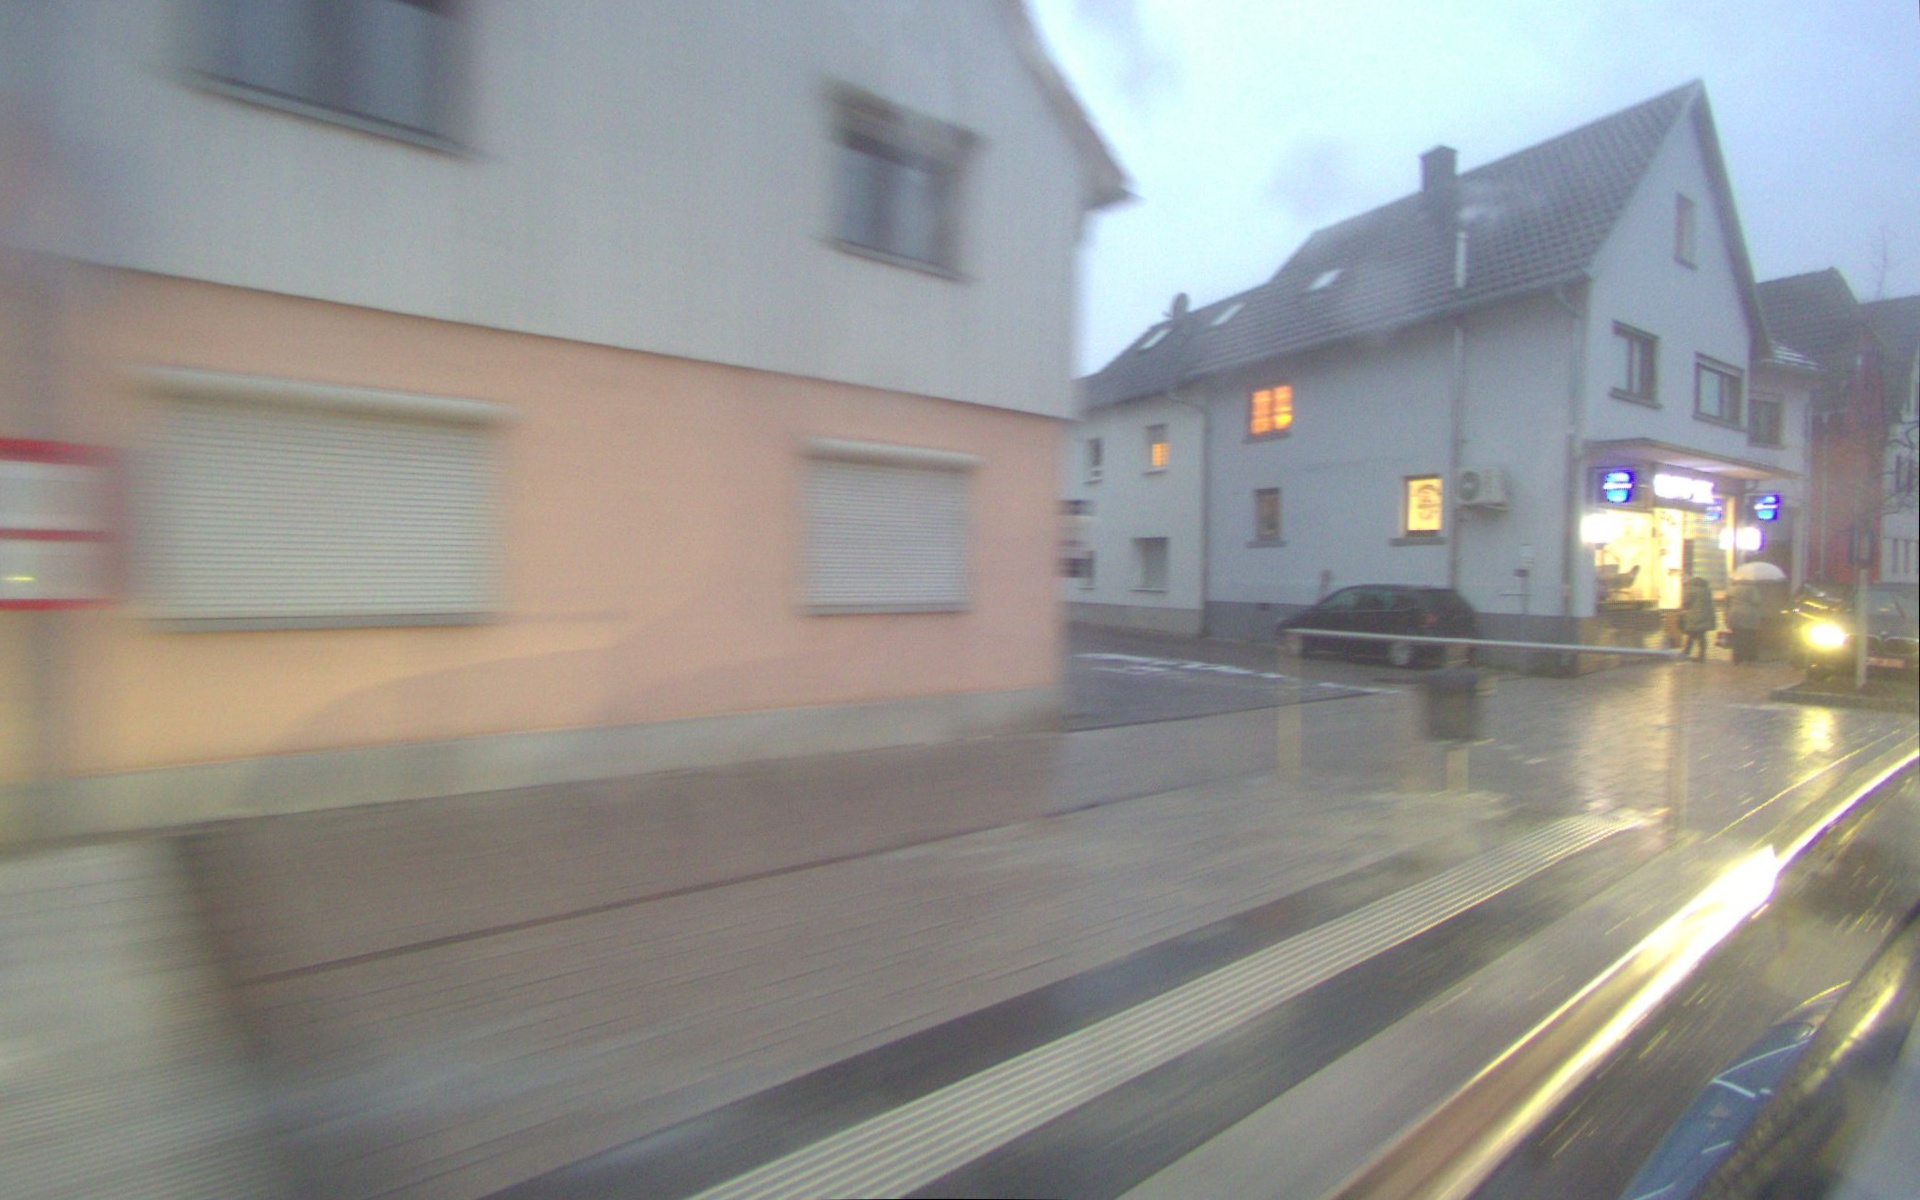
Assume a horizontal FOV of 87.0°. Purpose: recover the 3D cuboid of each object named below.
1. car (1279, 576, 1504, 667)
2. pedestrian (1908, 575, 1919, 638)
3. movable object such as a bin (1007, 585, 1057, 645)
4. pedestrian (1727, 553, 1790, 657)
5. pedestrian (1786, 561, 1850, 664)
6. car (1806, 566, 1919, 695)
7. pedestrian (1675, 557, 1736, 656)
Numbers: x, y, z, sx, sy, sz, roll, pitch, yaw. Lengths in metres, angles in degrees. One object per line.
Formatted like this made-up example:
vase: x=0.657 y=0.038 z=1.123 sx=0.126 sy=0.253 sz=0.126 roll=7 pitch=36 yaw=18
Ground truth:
car: x=7.879 y=0.337 z=18.783 sx=1.627 sy=1.403 sz=3.568 roll=1 pitch=2 yaw=-28
pedestrian: x=27.747 y=0.205 z=28.913 sx=1.041 sy=1.786 sz=0.819 roll=0 pitch=2 yaw=-40
movable object such as a bin: x=1.328 y=0.265 z=18.668 sx=0.534 sy=1.053 sz=0.728 roll=0 pitch=2 yaw=-41
pedestrian: x=14.412 y=0.083 z=18.268 sx=0.498 sy=1.819 sz=0.652 roll=2 pitch=2 yaw=-28
pedestrian: x=14.936 y=0.211 z=17.628 sx=0.459 sy=1.742 sz=0.651 roll=2 pitch=2 yaw=-34
car: x=15.057 y=0.433 z=15.865 sx=4.440 sy=1.806 sz=1.998 roll=0 pitch=2 yaw=-40
pedestrian: x=13.623 y=0.113 z=18.498 sx=0.638 sy=1.742 sz=0.610 roll=2 pitch=2 yaw=-34
